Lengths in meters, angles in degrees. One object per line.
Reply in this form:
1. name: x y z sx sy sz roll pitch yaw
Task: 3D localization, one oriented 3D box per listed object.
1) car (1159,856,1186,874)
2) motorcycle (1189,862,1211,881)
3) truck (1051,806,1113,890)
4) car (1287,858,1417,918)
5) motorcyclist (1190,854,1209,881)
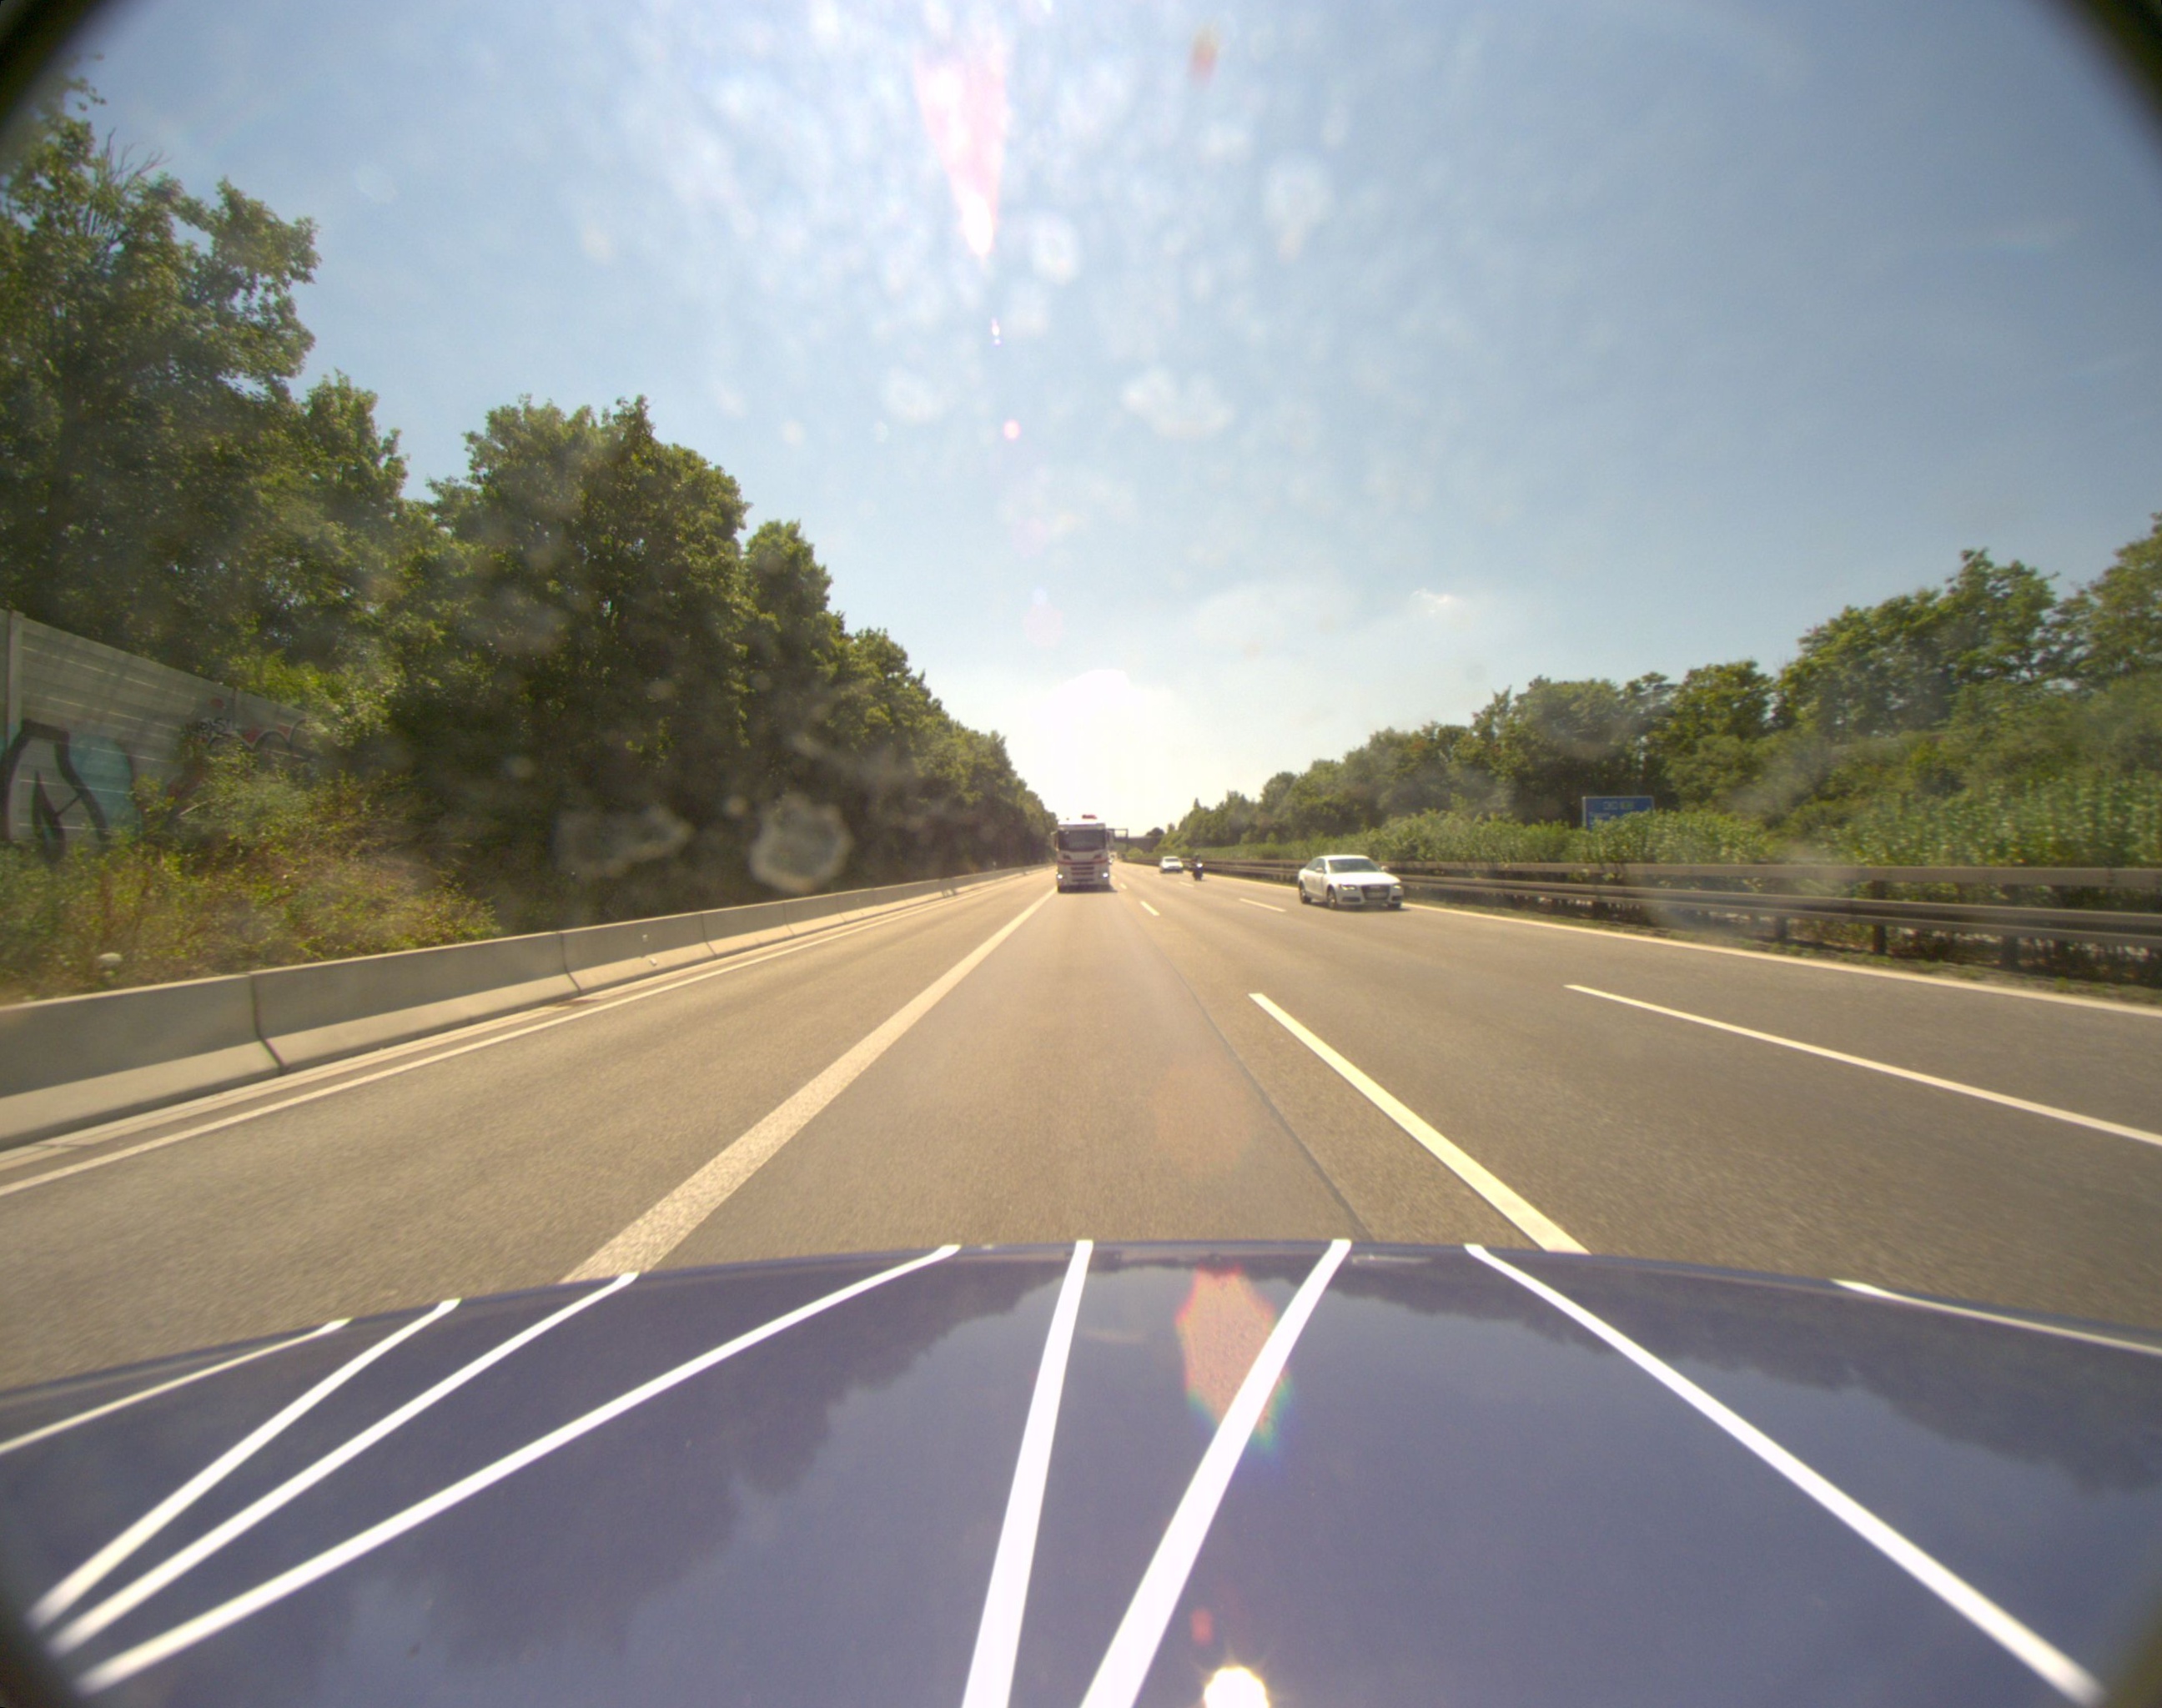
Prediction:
1. car: 7.985 0.916 66.764 1.786 1.432 4.669 -2 0 1
2. motorcycle: 7.209 1.067 46.219 0.915 1.082 2.850 -2 0 1
3. truck: 0.153 -0.192 40.693 2.721 3.779 10.674 -3 -1 1
4. car: 7.414 0.852 21.418 1.881 1.432 5.126 -2 0 1
5. motorcyclist: 7.204 0.812 46.242 0.895 1.587 1.299 -3 0 2
